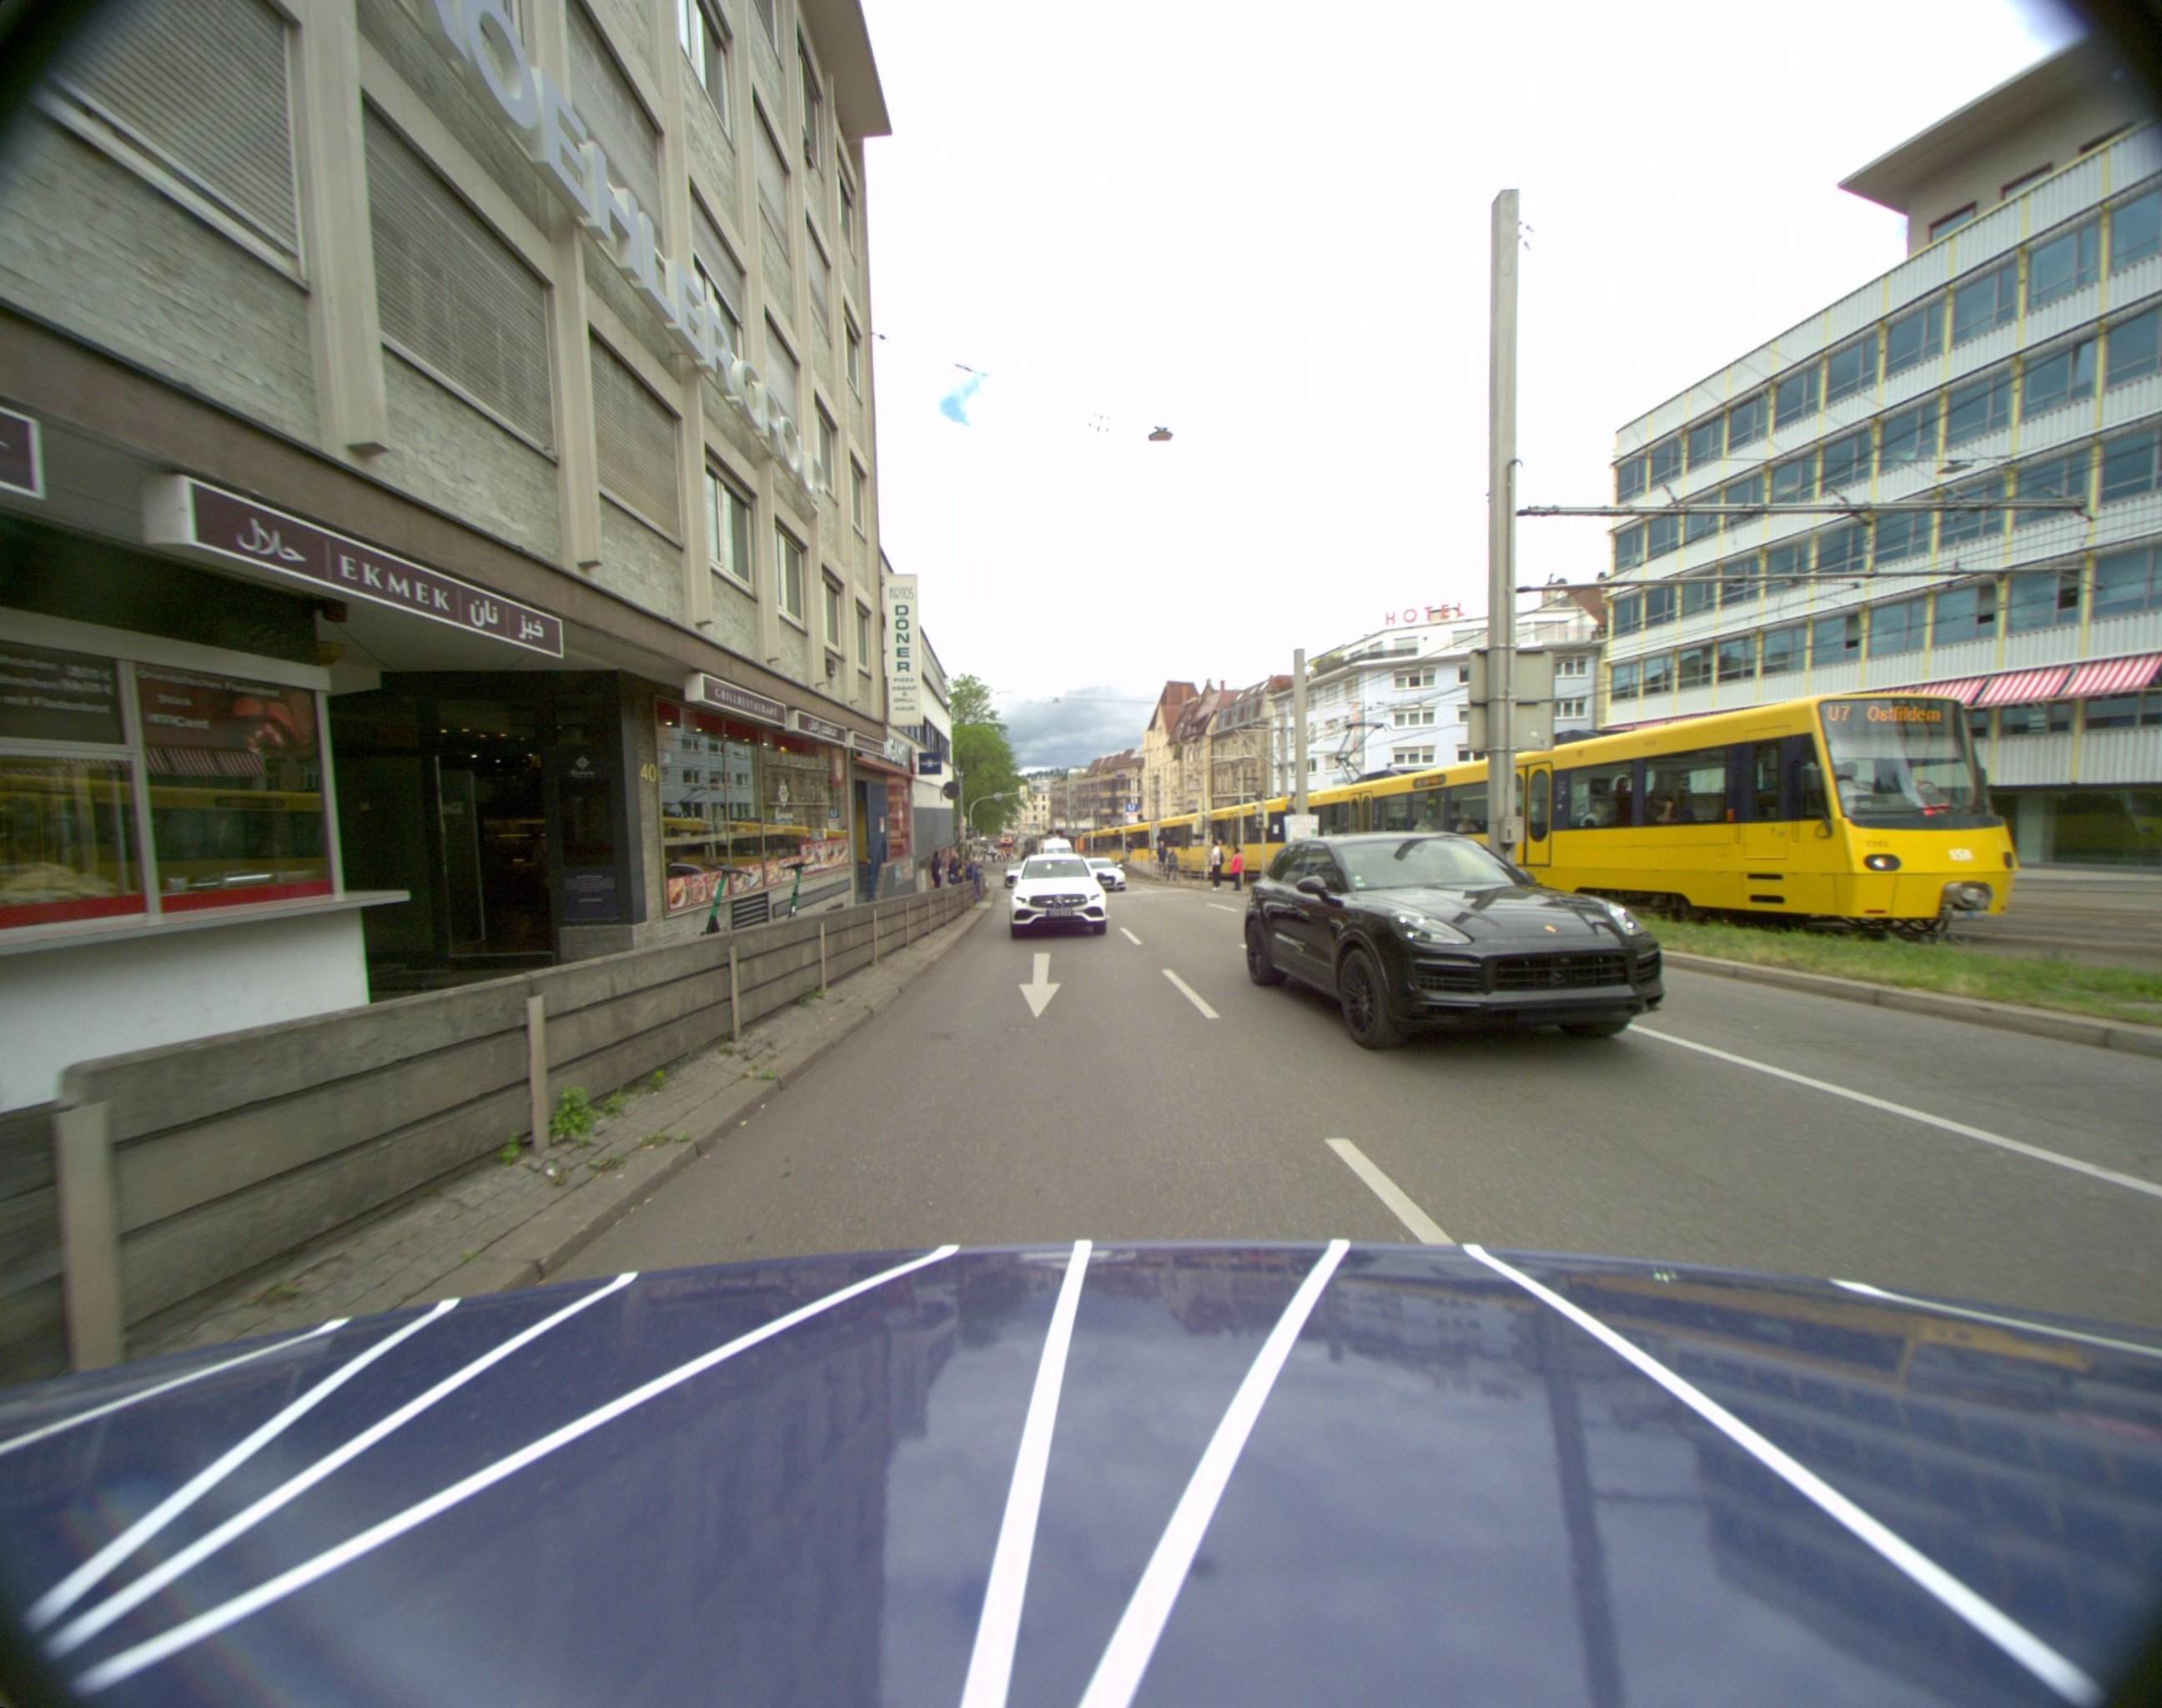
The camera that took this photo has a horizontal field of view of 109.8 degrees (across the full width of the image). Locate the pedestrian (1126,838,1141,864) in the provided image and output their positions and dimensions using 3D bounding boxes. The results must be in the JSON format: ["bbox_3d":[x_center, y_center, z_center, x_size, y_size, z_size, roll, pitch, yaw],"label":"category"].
[{"bbox_3d":[3.278,-0.193,47.600,0.781,1.575,0.665,-1,1,-8],"label":"pedestrian"}]

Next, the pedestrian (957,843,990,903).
[{"bbox_3d":[-3.848,0.688,27.294,0.949,2.050,0.778,6,0,-4],"label":"pedestrian"}]

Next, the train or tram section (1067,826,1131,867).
[{"bbox_3d":[1.426,-0.650,72.734,2.891,3.421,14.215,-4,1,-11],"label":"train or tram section"}]

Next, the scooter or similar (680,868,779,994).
[{"bbox_3d":[-4.436,0.928,9.672,0.669,1.467,1.178,-2,0,-1],"label":"scooter or similar"}]

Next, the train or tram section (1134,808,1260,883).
[{"bbox_3d":[6.284,-0.463,44.801,2.891,3.642,14.216,-3,1,-9],"label":"train or tram section"}]

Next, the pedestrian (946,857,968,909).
[{"bbox_3d":[-4.047,0.928,24.844,0.563,1.642,0.590,4,0,-5],"label":"pedestrian"}]

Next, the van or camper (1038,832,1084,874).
[{"bbox_3d":[-1.463,-0.080,52.002,2.210,2.543,6.368,-3,1,-9],"label":"van or camper"}]

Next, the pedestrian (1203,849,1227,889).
[{"bbox_3d":[5.630,0.626,31.954,0.678,1.615,1.000,-1,1,-9],"label":"pedestrian"}]

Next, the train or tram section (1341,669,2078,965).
[{"bbox_3d":[10.459,-0.524,16.729,2.890,3.642,14.465,-2,1,-7],"label":"train or tram section"}]

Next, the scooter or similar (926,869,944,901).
[{"bbox_3d":[-6.011,1.277,31.334,0.428,1.268,0.981,-2,0,6],"label":"scooter or similar"}]

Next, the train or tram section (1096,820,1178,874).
[{"bbox_3d":[3.973,-0.611,58.825,2.932,3.538,14.215,-3,1,-9],"label":"train or tram section"}]

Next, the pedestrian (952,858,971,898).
[{"bbox_3d":[-5.509,1.106,35.123,0.722,1.775,0.883,-3,1,-7],"label":"pedestrian"}]

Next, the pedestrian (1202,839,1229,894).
[{"bbox_3d":[5.169,0.466,29.099,0.967,2.056,1.032,0,4,11],"label":"pedestrian"}]

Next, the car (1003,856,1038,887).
[{"bbox_3d":[-3.470,0.965,43.233,1.670,1.521,3.996,-4,1,-8],"label":"car"}]

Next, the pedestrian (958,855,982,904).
[{"bbox_3d":[-4.155,0.955,28.460,0.740,1.783,0.654,-3,1,-4],"label":"pedestrian"}]

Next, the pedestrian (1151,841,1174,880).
[{"bbox_3d":[4.283,0.334,39.914,0.932,1.959,1.232,-1,4,-8],"label":"pedestrian"}]

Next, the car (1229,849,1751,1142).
[{"bbox_3d":[2.943,0.832,6.956,2.033,1.675,4.780,-2,1,-2],"label":"car"}]

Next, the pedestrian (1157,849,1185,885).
[{"bbox_3d":[4.496,0.617,38.000,1.120,1.671,1.039,-1,6,-8],"label":"pedestrian"}]

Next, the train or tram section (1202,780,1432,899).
[{"bbox_3d":[8.562,-0.484,30.812,2.891,3.642,14.217,-2,0,-9],"label":"train or tram section"}]

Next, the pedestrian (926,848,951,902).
[{"bbox_3d":[-4.882,0.715,26.053,0.729,1.797,0.654,-1,1,-3],"label":"pedestrian"}]

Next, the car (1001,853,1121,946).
[{"bbox_3d":[-0.255,0.859,16.523,1.934,1.622,4.775,-2,1,6],"label":"car"}]

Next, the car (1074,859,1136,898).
[{"bbox_3d":[0.964,1.009,33.236,1.898,1.466,4.527,-2,0,-8],"label":"car"}]

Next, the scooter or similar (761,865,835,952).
[{"bbox_3d":[-4.394,0.816,11.873,0.632,1.242,1.333,-2,0,-1],"label":"scooter or similar"}]

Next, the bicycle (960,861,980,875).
[{"bbox_3d":[-10.082,1.248,68.835,1.746,1.214,0.541,-1,1,-13],"label":"bicycle"}]

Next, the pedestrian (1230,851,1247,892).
[{"bbox_3d":[5.782,0.643,27.875,0.577,1.456,0.676,1,4,11],"label":"pedestrian"}]
